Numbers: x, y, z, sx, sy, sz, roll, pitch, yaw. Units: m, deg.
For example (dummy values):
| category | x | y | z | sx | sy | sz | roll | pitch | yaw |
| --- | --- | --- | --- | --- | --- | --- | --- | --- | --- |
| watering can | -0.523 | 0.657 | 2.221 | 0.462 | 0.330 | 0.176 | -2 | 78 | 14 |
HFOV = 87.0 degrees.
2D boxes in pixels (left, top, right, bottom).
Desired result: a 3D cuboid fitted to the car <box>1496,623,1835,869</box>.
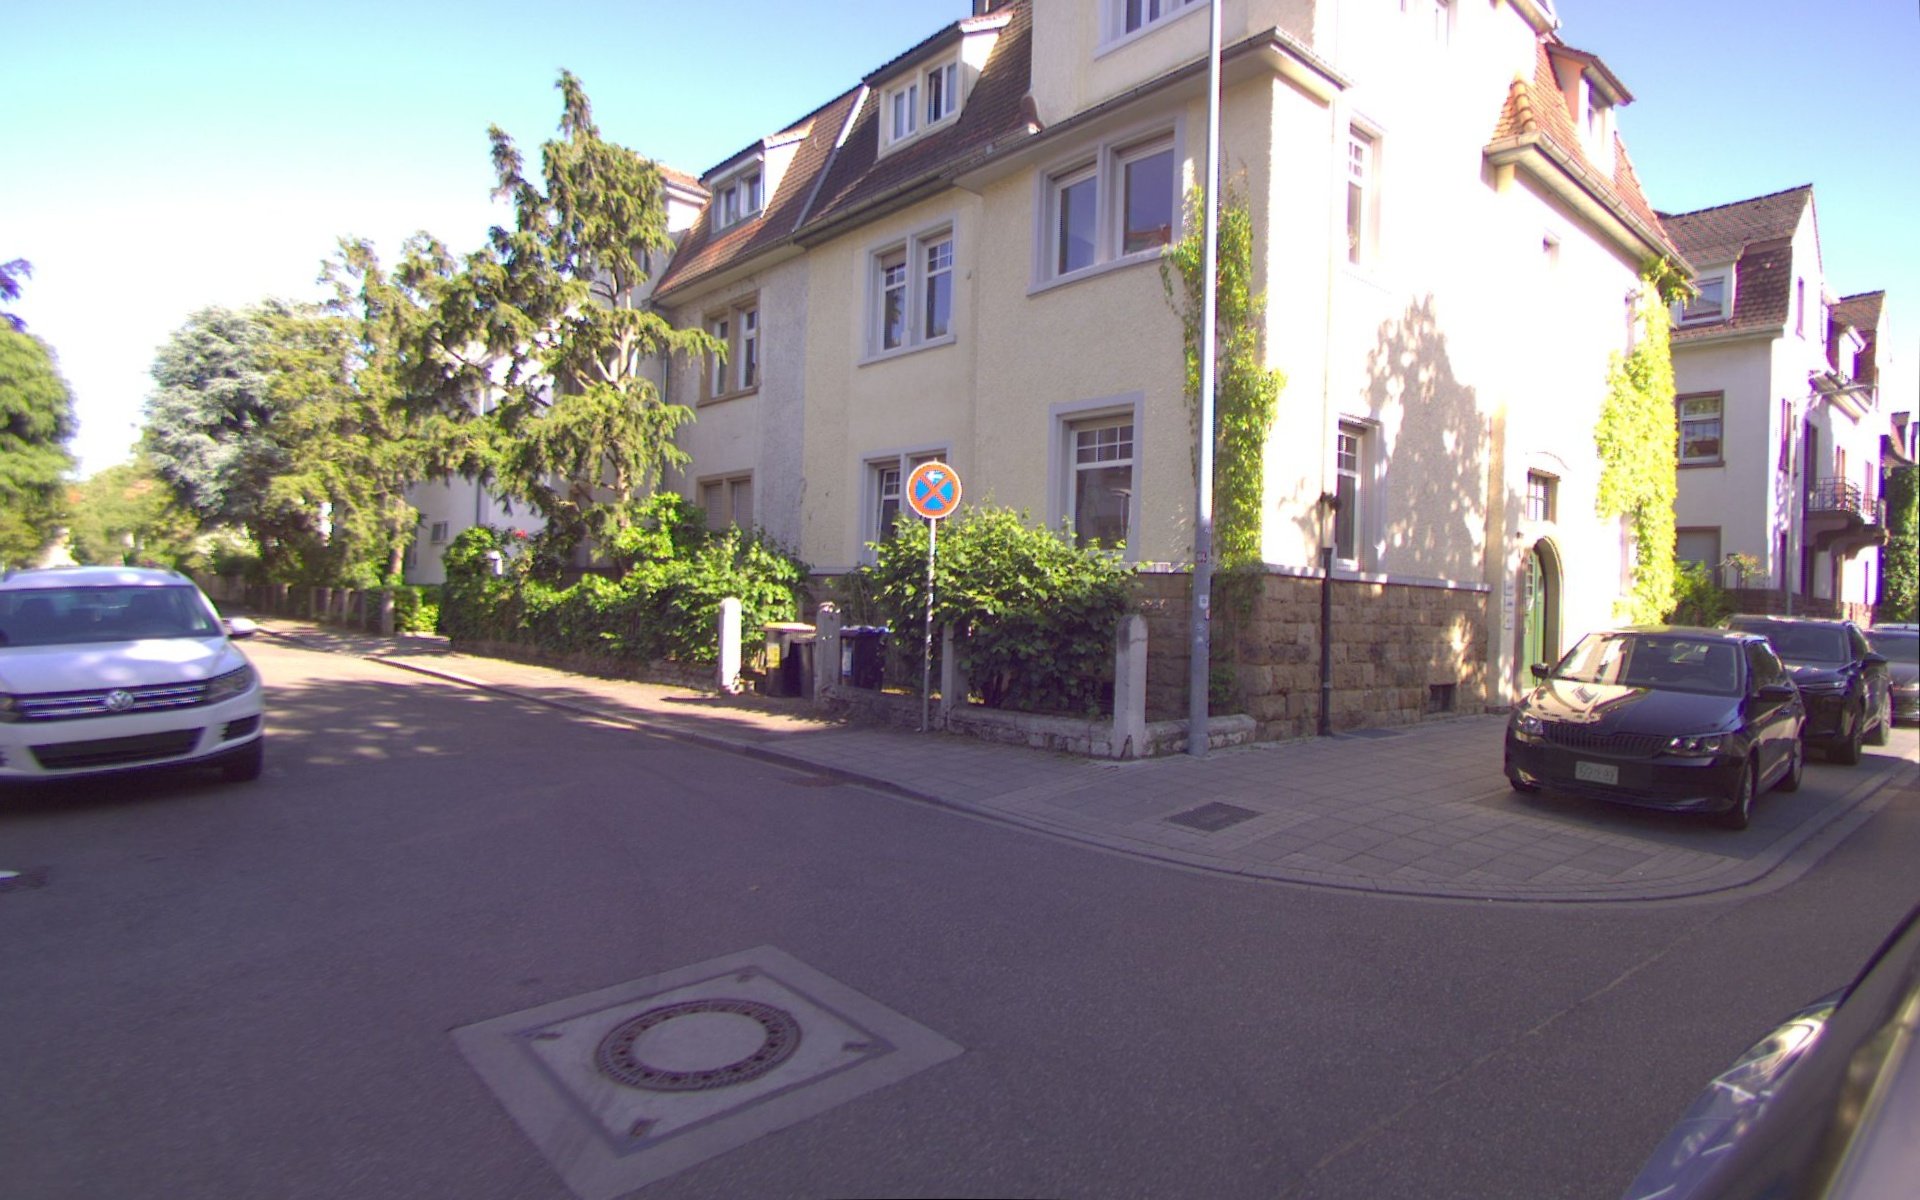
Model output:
| category | x | y | z | sx | sy | sz | roll | pitch | yaw |
| --- | --- | --- | --- | --- | --- | --- | --- | --- | --- |
| car | 6.317 | 1.044 | 8.879 | 3.935 | 1.539 | 1.664 | 0 | 2 | -44 |

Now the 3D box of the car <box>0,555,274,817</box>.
| category | x | y | z | sx | sy | sz | roll | pitch | yaw |
| --- | --- | --- | --- | --- | --- | --- | --- | --- | --- |
| car | -6.864 | 0.485 | 8.054 | 1.761 | 1.610 | 3.992 | -1 | 1 | -43 |

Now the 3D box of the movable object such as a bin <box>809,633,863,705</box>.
| category | x | y | z | sx | sy | sz | roll | pitch | yaw |
| --- | --- | --- | --- | --- | --- | --- | --- | --- | --- |
| movable object such as a bin | -1.744 | 0.960 | 14.235 | 0.566 | 0.965 | 0.519 | 1 | -2 | -41 |

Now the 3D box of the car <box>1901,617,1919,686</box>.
| category | x | y | z | sx | sy | sz | roll | pitch | yaw |
| --- | --- | --- | --- | --- | --- | --- | --- | --- | --- |
| car | 23.474 | 1.199 | 23.833 | 2.819 | 1.569 | 1.628 | 1 | 0 | -41 |

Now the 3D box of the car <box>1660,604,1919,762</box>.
| category | x | y | z | sx | sy | sz | roll | pitch | yaw |
| --- | --- | --- | --- | --- | --- | --- | --- | --- | --- |
| car | 10.397 | 0.875 | 12.538 | 4.290 | 1.539 | 1.795 | 1 | 2 | -41 |

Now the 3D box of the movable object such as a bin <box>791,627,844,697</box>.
| category | x | y | z | sx | sy | sz | roll | pitch | yaw |
| --- | --- | --- | --- | --- | --- | --- | --- | --- | --- |
| movable object such as a bin | -2.065 | 0.884 | 14.655 | 0.566 | 0.965 | 0.519 | 1 | -2 | -41 |

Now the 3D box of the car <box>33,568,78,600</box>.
| category | x | y | z | sx | sy | sz | roll | pitch | yaw |
| --- | --- | --- | --- | --- | --- | --- | --- | --- | --- |
| car | -46.869 | -0.832 | 52.407 | 1.645 | 1.591 | 3.720 | 2 | 0 | -43 |

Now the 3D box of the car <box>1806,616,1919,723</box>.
| category | x | y | z | sx | sy | sz | roll | pitch | yaw |
| --- | --- | --- | --- | --- | --- | --- | --- | --- | --- |
| car | 15.297 | 1.062 | 16.434 | 4.119 | 1.453 | 1.713 | 1 | 3 | -41 |

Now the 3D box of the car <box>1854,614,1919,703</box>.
| category | x | y | z | sx | sy | sz | roll | pitch | yaw |
| --- | --- | --- | --- | --- | --- | --- | --- | --- | --- |
| car | 18.645 | 1.097 | 19.551 | 3.408 | 1.568 | 1.578 | 1 | 2 | -41 |

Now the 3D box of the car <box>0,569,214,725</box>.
| category | x | y | z | sx | sy | sz | roll | pitch | yaw |
| --- | --- | --- | --- | --- | --- | --- | --- | --- | --- |
| car | -10.521 | 0.421 | 12.165 | 1.968 | 1.569 | 3.989 | -1 | 2 | -45 |

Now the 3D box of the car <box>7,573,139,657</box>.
| category | x | y | z | sx | sy | sz | roll | pitch | yaw |
| --- | --- | --- | --- | --- | --- | --- | --- | --- | --- |
| car | -17.126 | 0.206 | 19.514 | 1.776 | 1.468 | 3.388 | -1 | 2 | -43 |

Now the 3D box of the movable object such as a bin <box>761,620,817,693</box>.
| category | x | y | z | sx | sy | sz | roll | pitch | yaw |
| --- | --- | --- | --- | --- | --- | --- | --- | --- | --- |
| movable object such as a bin | -2.528 | 0.823 | 14.973 | 0.655 | 1.035 | 0.519 | 1 | -2 | -41 |

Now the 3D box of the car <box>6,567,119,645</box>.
| category | x | y | z | sx | sy | sz | roll | pitch | yaw |
| --- | --- | --- | --- | --- | --- | --- | --- | --- | --- |
| car | -20.089 | 0.068 | 22.638 | 1.776 | 1.601 | 3.388 | -1 | 2 | -43 |

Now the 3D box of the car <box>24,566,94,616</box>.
| category | x | y | z | sx | sy | sz | roll | pitch | yaw |
| --- | --- | --- | --- | --- | --- | --- | --- | --- | --- |
| car | -30.398 | -0.312 | 34.118 | 1.645 | 1.591 | 3.720 | 2 | 0 | -43 |
